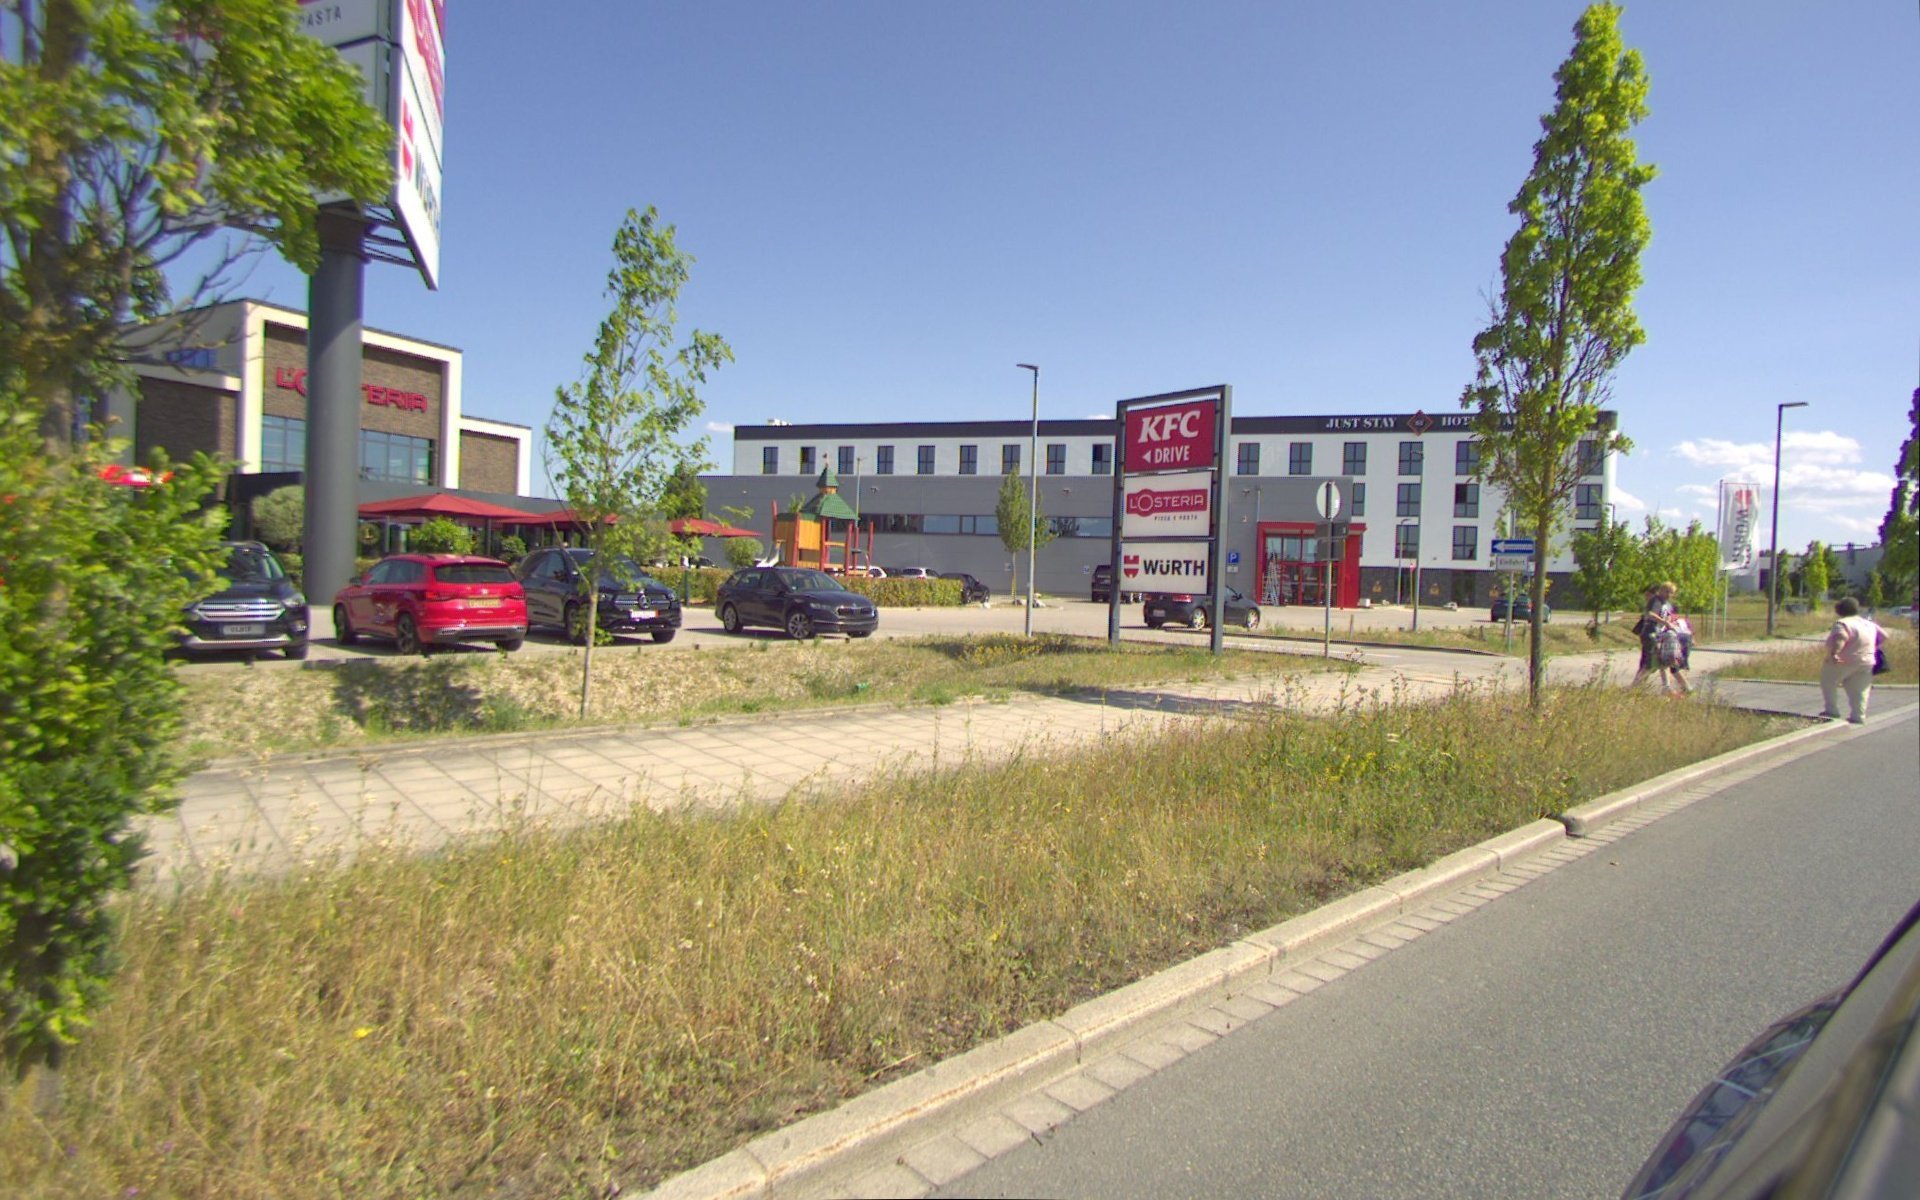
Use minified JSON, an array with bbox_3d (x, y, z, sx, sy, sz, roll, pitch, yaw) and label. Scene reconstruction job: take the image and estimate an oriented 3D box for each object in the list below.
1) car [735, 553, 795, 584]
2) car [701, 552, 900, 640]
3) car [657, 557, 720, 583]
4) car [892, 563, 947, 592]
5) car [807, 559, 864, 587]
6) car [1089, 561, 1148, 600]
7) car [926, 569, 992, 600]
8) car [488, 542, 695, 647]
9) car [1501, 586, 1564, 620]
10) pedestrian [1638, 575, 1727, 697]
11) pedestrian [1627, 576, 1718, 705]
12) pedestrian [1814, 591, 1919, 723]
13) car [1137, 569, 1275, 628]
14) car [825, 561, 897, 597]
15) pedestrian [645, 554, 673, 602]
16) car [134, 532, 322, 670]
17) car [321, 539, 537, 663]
[{"bbox_3d":[-11.487,-1.840,59.890,1.680,1.779,4.085,2,2,18],"label":"car"},{"bbox_3d":[-3.474,-0.143,21.505,1.962,1.586,4.410,1,2,-45],"label":"car"},{"bbox_3d":[-16.265,-1.792,60.735,1.680,1.480,4.085,2,2,18],"label":"car"},{"bbox_3d":[-2.216,-1.260,56.405,1.680,1.480,4.085,2,2,18],"label":"car"},{"bbox_3d":[-7.121,-1.541,58.260,1.680,1.480,4.085,2,2,18],"label":"car"},{"bbox_3d":[8.134,-0.989,51.464,2.024,1.838,4.892,2,1,20],"label":"car"},{"bbox_3d":[0.004,-0.674,43.185,1.632,1.227,4.113,2,2,17],"label":"car"},{"bbox_3d":[-7.368,-0.192,19.943,1.908,1.756,4.986,1,2,-45],"label":"car"},{"bbox_3d":[25.485,0.122,45.019,1.514,1.425,3.937,3,2,44],"label":"car"},{"bbox_3d":[10.165,0.475,14.234,0.851,1.648,0.811,0,1,-40],"label":"pedestrian"},{"bbox_3d":[9.582,0.518,13.617,0.790,1.650,0.802,0,1,-40],"label":"pedestrian"},{"bbox_3d":[10.827,0.641,12.081,0.932,1.488,0.794,0,1,-40],"label":"pedestrian"},{"bbox_3d":[7.202,-0.055,29.435,4.094,1.559,1.784,0,2,-39],"label":"car"},{"bbox_3d":[-4.370,-0.946,45.341,1.679,1.490,4.209,2,2,17],"label":"car"},{"bbox_3d":[-11.188,-0.829,37.624,0.515,1.771,0.812,2,1,32],"label":"pedestrian"},{"bbox_3d":[-11.032,-0.087,15.124,1.761,1.756,4.413,1,2,-42],"label":"car"},{"bbox_3d":[-9.015,-0.070,17.011,4.404,1.756,1.764,4,2,42],"label":"car"}]
